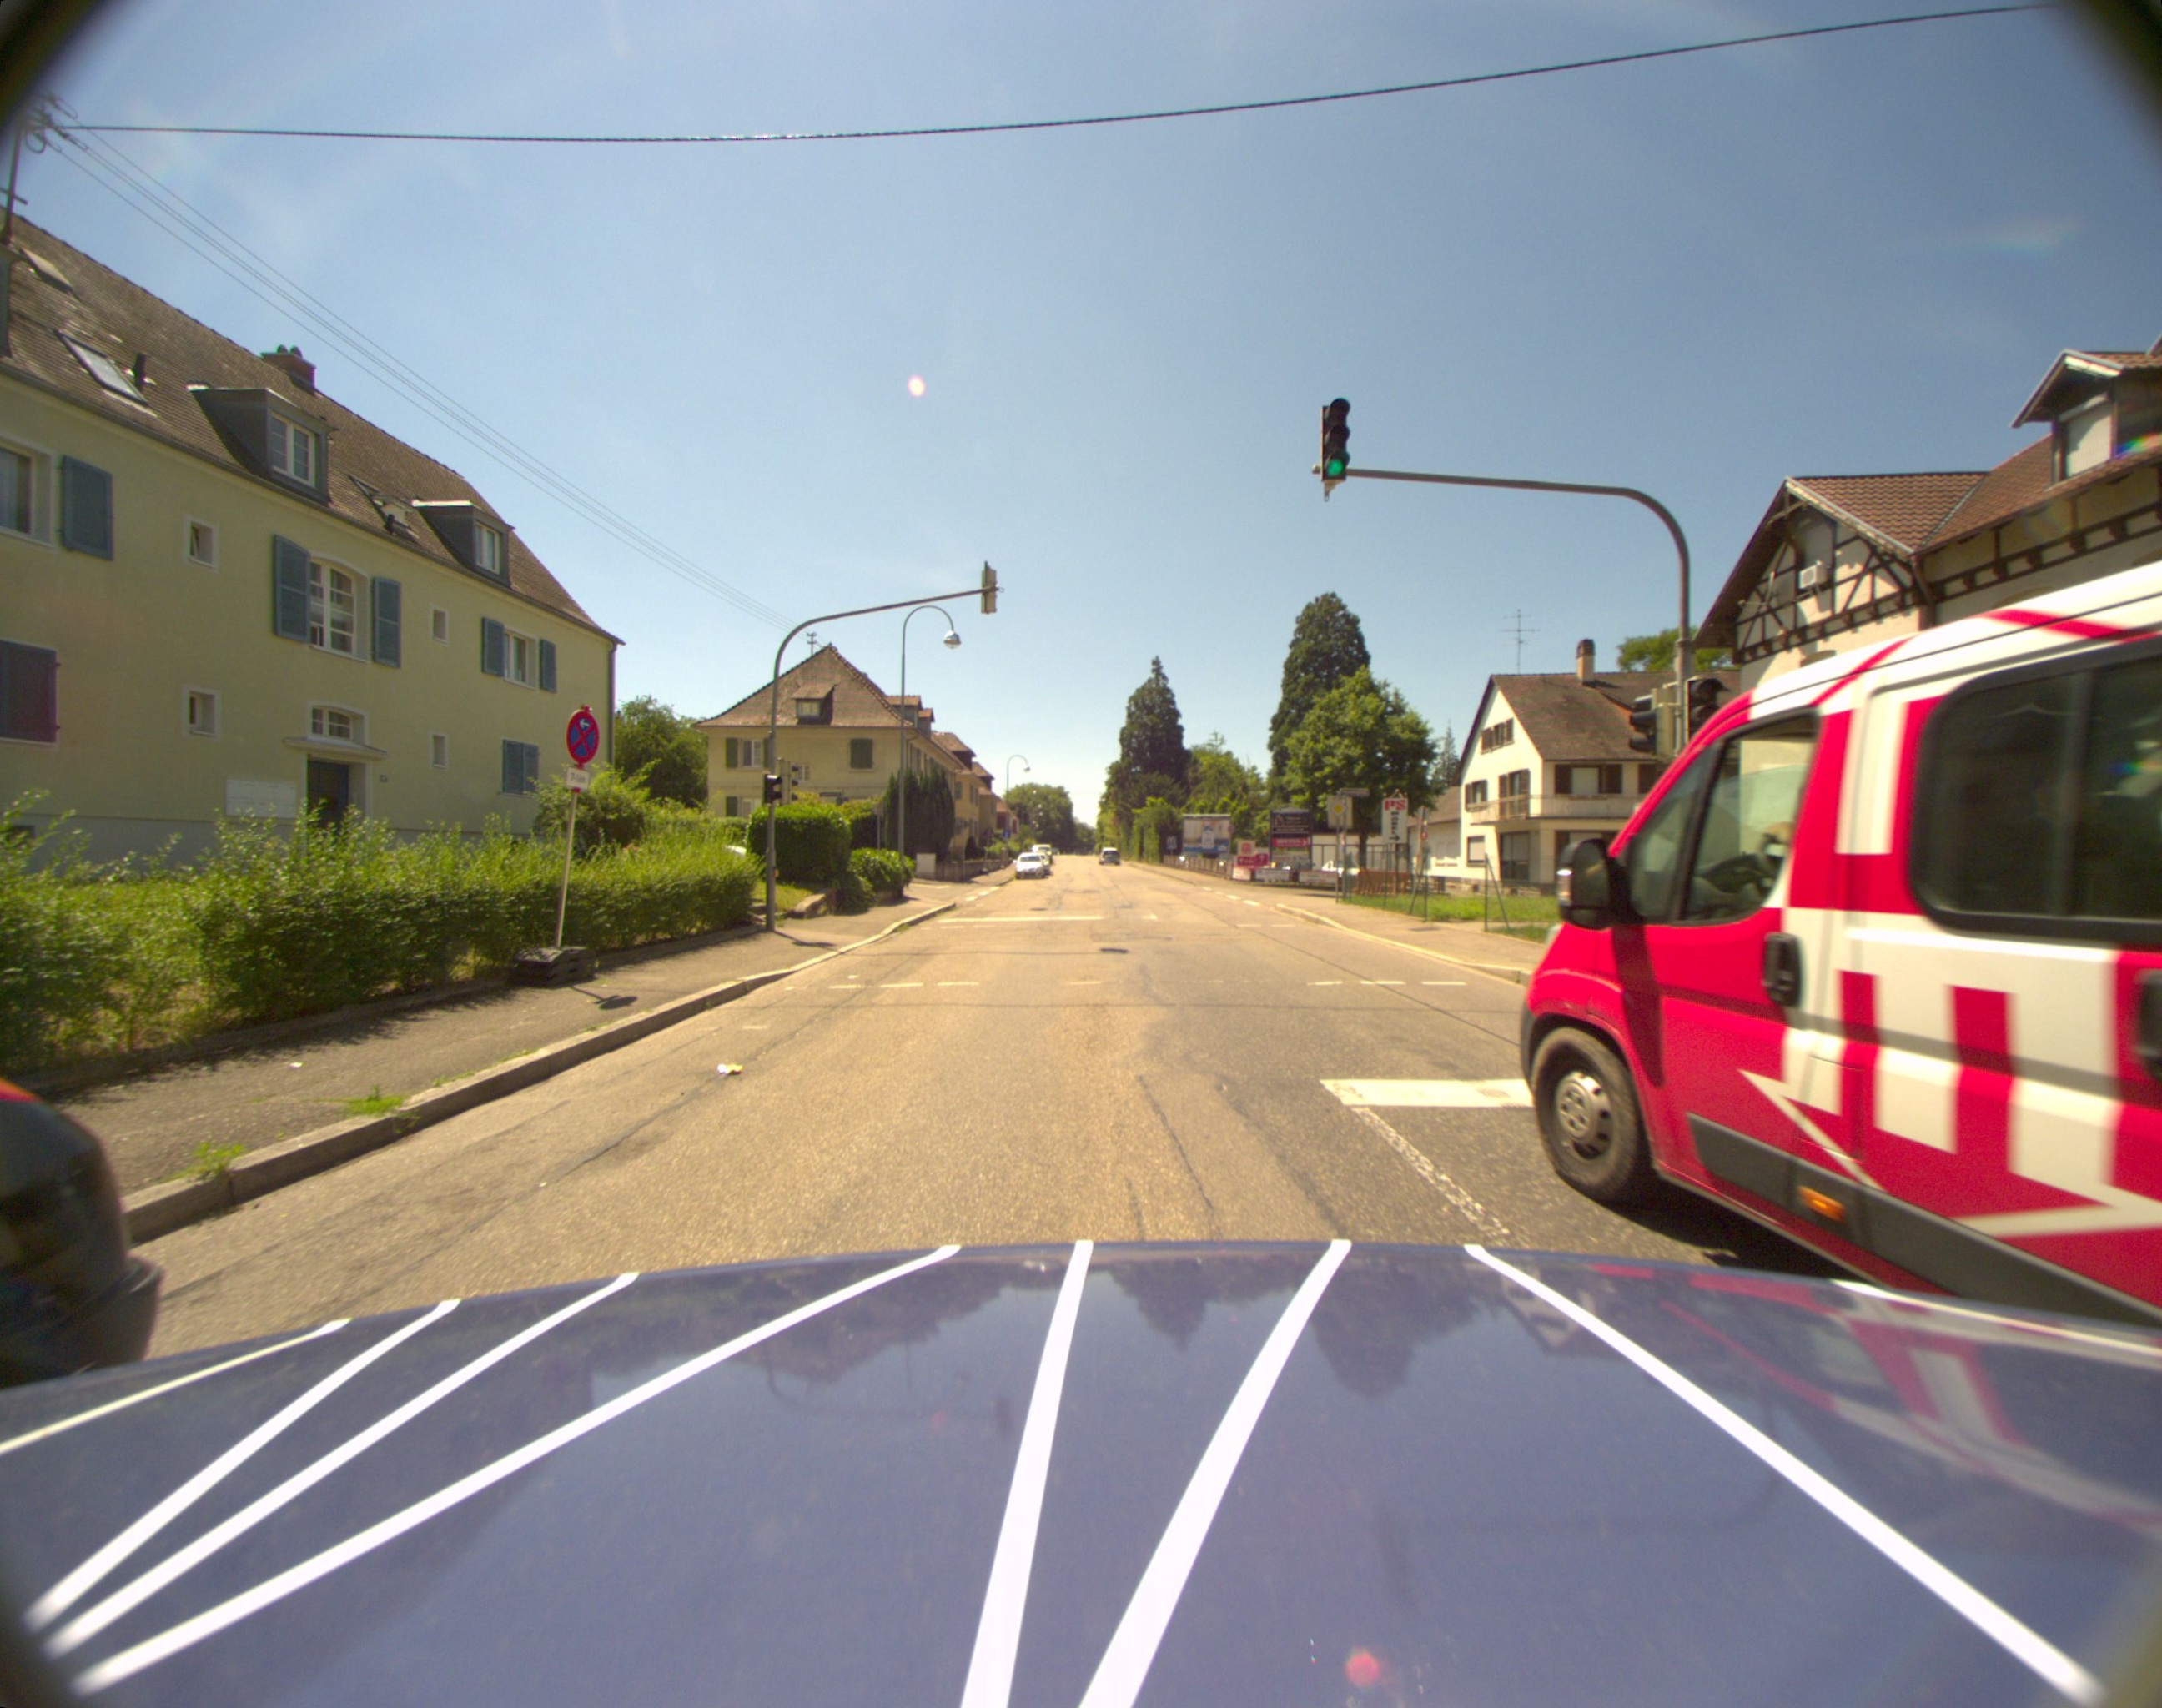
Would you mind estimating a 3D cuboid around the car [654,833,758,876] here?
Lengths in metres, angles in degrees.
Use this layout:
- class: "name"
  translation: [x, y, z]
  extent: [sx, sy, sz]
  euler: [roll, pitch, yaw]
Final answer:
- class: "car"
  translation: [-15.730, 0.001, 31.961]
  extent: [3.509, 1.444, 1.613]
  euler: [5, 1, 4]

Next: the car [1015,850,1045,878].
- class: "car"
  translation: [-2.903, 0.562, 43.986]
  extent: [1.671, 1.457, 3.998]
  euler: [0, 1, -3]

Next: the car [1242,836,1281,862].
- class: "car"
  translation: [13.400, -0.396, 56.613]
  extent: [1.799, 1.732, 3.998]
  euler: [2, 2, -2]

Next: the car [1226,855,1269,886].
- class: "car"
  translation: [8.953, 0.838, 41.128]
  extent: [1.798, 1.509, 4.001]
  euler: [2, 1, 5]

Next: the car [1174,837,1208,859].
- class: "car"
  translation: [8.330, -0.502, 57.846]
  extent: [1.799, 1.510, 3.998]
  euler: [2, 2, -2]

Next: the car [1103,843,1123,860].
- class: "car"
  translation: [2.997, -0.246, 71.696]
  extent: [1.656, 1.553, 3.884]
  euler: [1, 1, 0]

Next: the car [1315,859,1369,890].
- class: "car"
  translation: [13.854, 1.046, 40.514]
  extent: [1.798, 1.425, 4.001]
  euler: [2, 1, 5]

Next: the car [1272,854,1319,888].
- class: "car"
  translation: [11.496, 0.855, 40.987]
  extent: [1.797, 1.669, 4.627]
  euler: [2, 1, 8]

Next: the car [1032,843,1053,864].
- class: "car"
  translation: [-3.688, -0.067, 73.147]
  extent: [1.852, 1.858, 4.689]
  euler: [-1, 1, -2]

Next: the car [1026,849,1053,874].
- class: "car"
  translation: [-2.625, 0.451, 48.909]
  extent: [1.671, 1.427, 3.998]
  euler: [-1, 1, -2]

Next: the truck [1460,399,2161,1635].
- class: "truck"
  translation: [3.086, 0.314, 1.032]
  extent: [2.132, 2.325, 6.434]
  euler: [0, 1, 2]
